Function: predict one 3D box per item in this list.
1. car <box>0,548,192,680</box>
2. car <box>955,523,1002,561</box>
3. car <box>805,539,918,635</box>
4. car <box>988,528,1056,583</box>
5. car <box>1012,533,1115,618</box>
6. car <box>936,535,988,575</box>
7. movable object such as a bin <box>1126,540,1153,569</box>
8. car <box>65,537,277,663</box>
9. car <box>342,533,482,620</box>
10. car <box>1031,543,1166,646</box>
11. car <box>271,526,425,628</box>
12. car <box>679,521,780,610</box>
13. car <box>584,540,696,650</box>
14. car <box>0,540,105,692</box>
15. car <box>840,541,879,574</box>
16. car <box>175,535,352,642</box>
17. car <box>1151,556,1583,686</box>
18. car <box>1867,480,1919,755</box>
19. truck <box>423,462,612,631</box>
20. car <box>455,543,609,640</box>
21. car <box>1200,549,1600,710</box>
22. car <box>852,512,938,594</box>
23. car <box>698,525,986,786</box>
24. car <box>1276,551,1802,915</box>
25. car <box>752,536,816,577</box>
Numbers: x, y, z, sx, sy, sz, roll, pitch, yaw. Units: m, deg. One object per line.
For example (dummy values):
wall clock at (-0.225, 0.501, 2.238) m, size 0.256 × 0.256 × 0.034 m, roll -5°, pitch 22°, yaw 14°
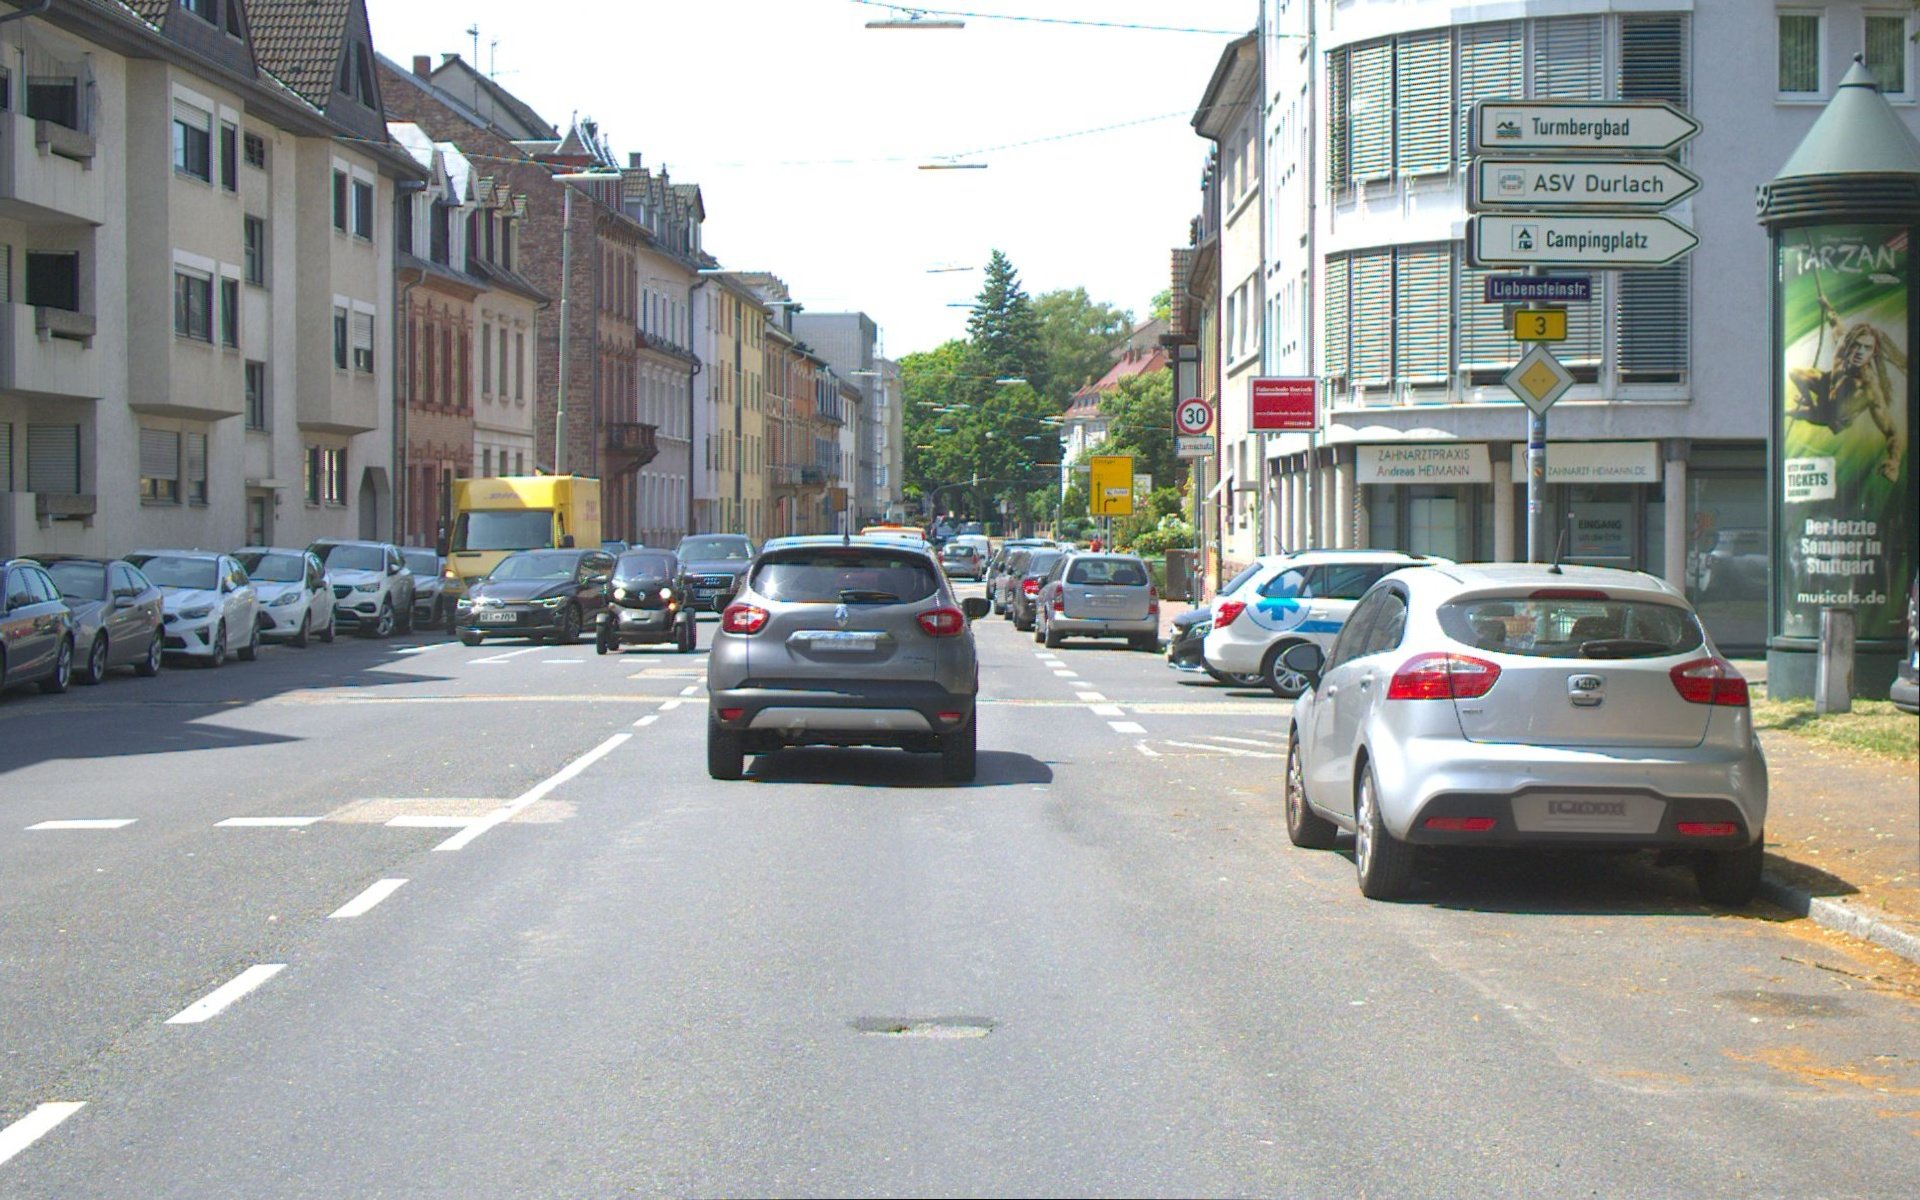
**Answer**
car at (-10.310, 0.122, 39.831) m, size 1.839 × 1.379 × 4.327 m, roll 3°, pitch 1°, yaw -1°
car at (0.799, -2.450, 145.160) m, size 1.763 × 1.554 × 3.942 m, roll 0°, pitch 1°, yaw 4°
car at (-1.710, -0.255, 60.909) m, size 1.812 × 1.615 × 4.441 m, roll -1°, pitch 1°, yaw 1°
car at (1.934, -1.388, 106.084) m, size 1.993 × 1.656 × 4.625 m, roll 0°, pitch 1°, yaw 2°
car at (1.822, -0.459, 61.403) m, size 1.711 × 1.468 × 4.438 m, roll 0°, pitch 1°, yaw 0°
car at (0.096, -1.775, 134.341) m, size 1.763 × 1.554 × 3.942 m, roll 0°, pitch 1°, yaw 4°
movable object such as a bin at (5.547, -1.410, 106.036) m, size 0.788 × 0.904 × 0.539 m, roll 0°, pitch 1°, yaw -1°
car at (-10.292, -0.031, 45.123) m, size 1.839 × 1.484 × 4.387 m, roll 3°, pitch 1°, yaw -2°
car at (-10.202, -0.457, 64.274) m, size 1.840 × 1.483 × 4.386 m, roll 3°, pitch 1°, yaw 0°
car at (2.066, -0.114, 52.234) m, size 1.677 × 1.449 × 4.143 m, roll 2°, pitch 1°, yaw -2°
car at (-10.336, -0.400, 58.315) m, size 1.839 × 1.590 × 4.387 m, roll 3°, pitch 1°, yaw -1°
car at (-4.396, -0.673, 65.466) m, size 1.812 × 1.615 × 4.442 m, roll -1°, pitch 1°, yaw -4°
car at (-4.414, -0.089, 47.383) m, size 1.496 × 1.454 × 2.723 m, roll 0°, pitch 1°, yaw -5°
car at (-10.205, 0.116, 34.695) m, size 1.840 × 1.442 × 4.969 m, roll 3°, pitch 1°, yaw 0°
car at (-5.047, -2.145, 172.807) m, size 1.904 × 1.614 × 4.303 m, roll -2°, pitch 1°, yaw -1°
car at (-10.617, -0.199, 52.671) m, size 1.839 × 1.484 × 4.387 m, roll 3°, pitch 1°, yaw -1°
car at (4.569, 0.220, 39.046) m, size 4.580 × 1.360 × 2.000 m, roll 1°, pitch 1°, yaw -3°
car at (8.091, 0.142, 22.001) m, size 3.986 × 1.745 × 2.017 m, roll 1°, pitch 1°, yaw -2°
truck at (-7.766, -0.956, 61.157) m, size 2.225 × 2.762 × 7.564 m, roll -1°, pitch 1°, yaw 1°
car at (-6.507, -0.159, 52.656) m, size 1.742 × 1.414 × 4.223 m, roll 0°, pitch 1°, yaw 1°
car at (4.536, 0.288, 35.613) m, size 3.988 × 1.549 × 1.570 m, roll 1°, pitch 1°, yaw 7°
car at (-1.607, -1.197, 86.702) m, size 1.993 × 2.007 × 4.466 m, roll 0°, pitch 1°, yaw 1°
car at (-0.888, 0.314, 23.449) m, size 1.743 × 1.611 × 4.001 m, roll 1°, pitch 1°, yaw -5°
car at (2.583, 0.527, 16.216) m, size 1.767 × 1.480 × 3.891 m, roll 1°, pitch 1°, yaw -1°
car at (-6.531, -1.608, 127.872) m, size 1.840 × 1.417 × 4.557 m, roll -3°, pitch 1°, yaw 3°
